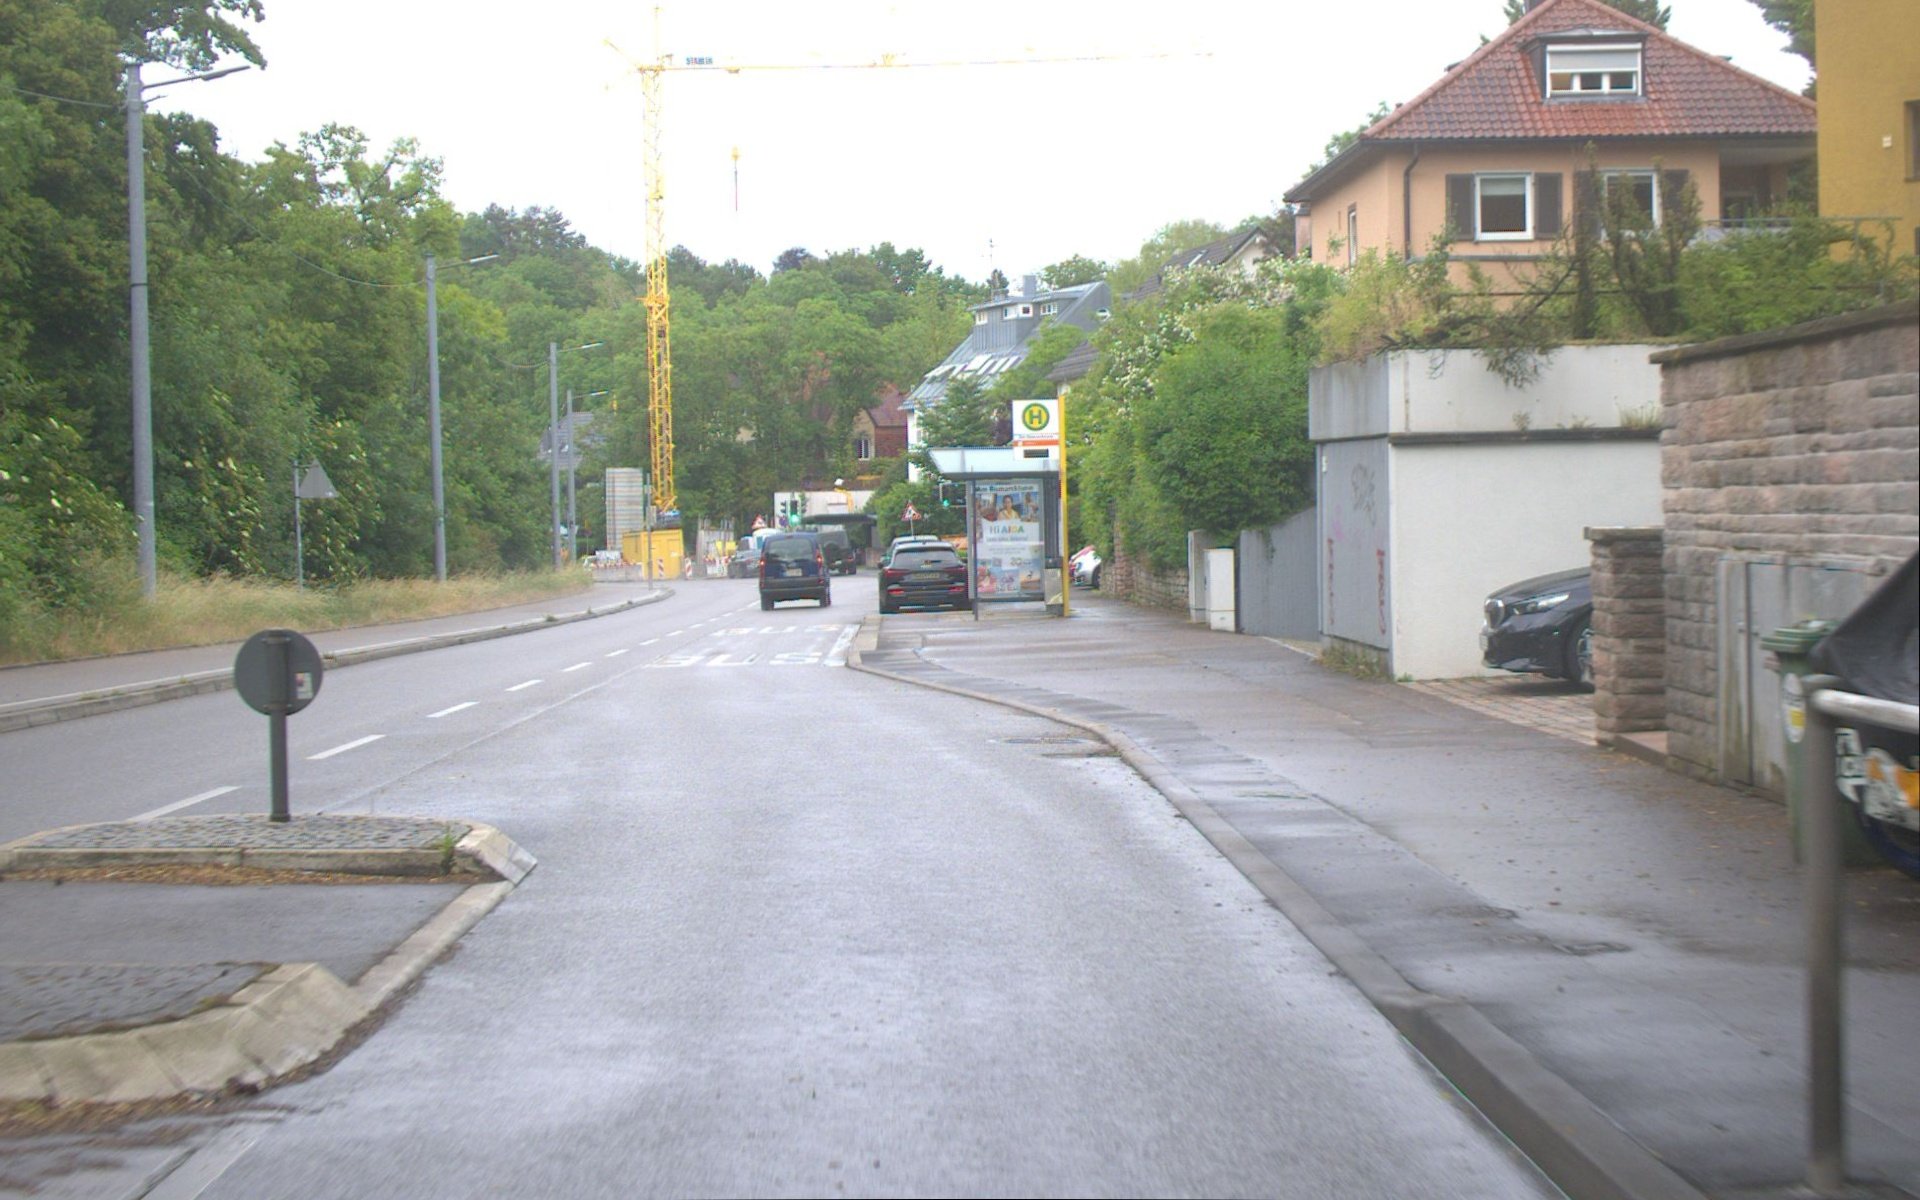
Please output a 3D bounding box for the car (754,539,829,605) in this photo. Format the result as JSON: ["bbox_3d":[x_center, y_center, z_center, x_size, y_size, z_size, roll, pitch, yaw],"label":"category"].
[{"bbox_3d":[-4.106,-0.698,84.312,1.667,1.588,3.683,0,1,0],"label":"car"}]

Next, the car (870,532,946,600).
[{"bbox_3d":[-1.370,-0.906,91.532,1.993,1.766,4.114,0,1,0],"label":"car"}]

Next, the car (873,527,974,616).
[{"bbox_3d":[-0.738,-0.590,70.349,1.993,1.766,4.114,0,1,0],"label":"car"}]

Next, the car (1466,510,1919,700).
[{"bbox_3d":[6.261,0.033,28.802,3.769,1.547,1.609,0,1,-2],"label":"car"}]

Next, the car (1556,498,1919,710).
[{"bbox_3d":[6.404,-0.004,26.465,3.284,1.475,1.576,-2,2,-2],"label":"car"}]

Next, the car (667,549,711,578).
[{"bbox_3d":[-14.752,-1.989,187.075,1.739,1.547,3.857,0,1,-14],"label":"car"}]

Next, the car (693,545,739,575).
[{"bbox_3d":[-12.874,-2.110,181.457,1.739,1.547,3.857,1,0,-14],"label":"car"}]

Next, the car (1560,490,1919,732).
[{"bbox_3d":[6.219,0.068,23.990,3.730,1.624,1.700,0,1,-2],"label":"car"}]

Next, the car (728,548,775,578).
[{"bbox_3d":[-10.652,-1.887,175.470,1.739,1.547,3.857,0,1,-14],"label":"car"}]
